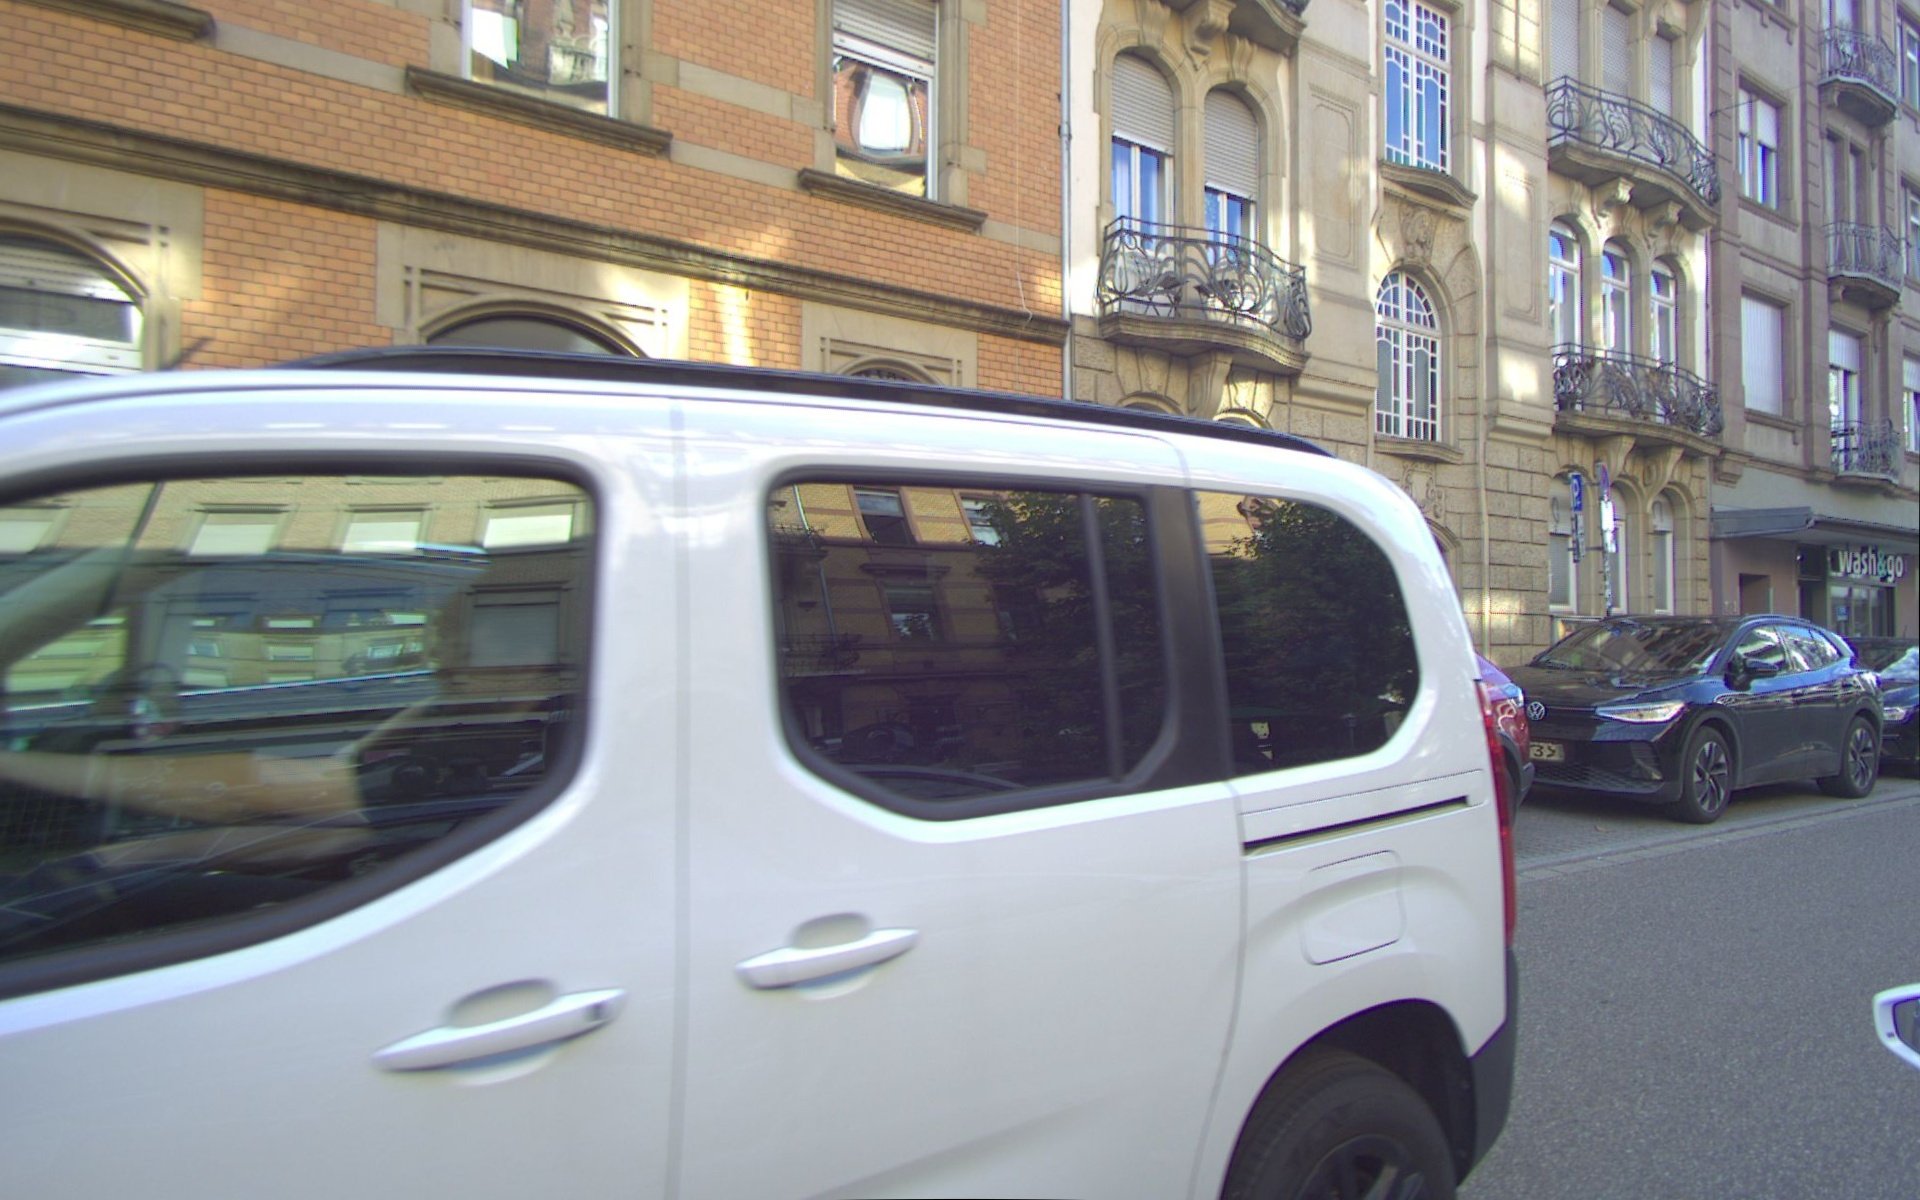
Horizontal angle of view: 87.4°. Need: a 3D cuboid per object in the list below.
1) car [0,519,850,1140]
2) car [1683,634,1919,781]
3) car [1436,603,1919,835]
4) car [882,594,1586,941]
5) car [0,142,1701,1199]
[{"bbox_3d":[-2.978,0.639,3.645,4.843,1.703,1.861,1,-1,-34],"label":"car"},{"bbox_3d":[10.648,1.138,11.825,4.196,1.438,1.984,1,-3,-31],"label":"car"},{"bbox_3d":[6.631,0.946,9.145,4.791,1.649,1.782,2,-3,-30],"label":"car"},{"bbox_3d":[1.886,0.853,6.554,4.376,1.565,1.984,2,-3,-31],"label":"car"},{"bbox_3d":[-0.753,0.583,1.913,4.385,1.852,1.909,2,-1,-30],"label":"car"}]
